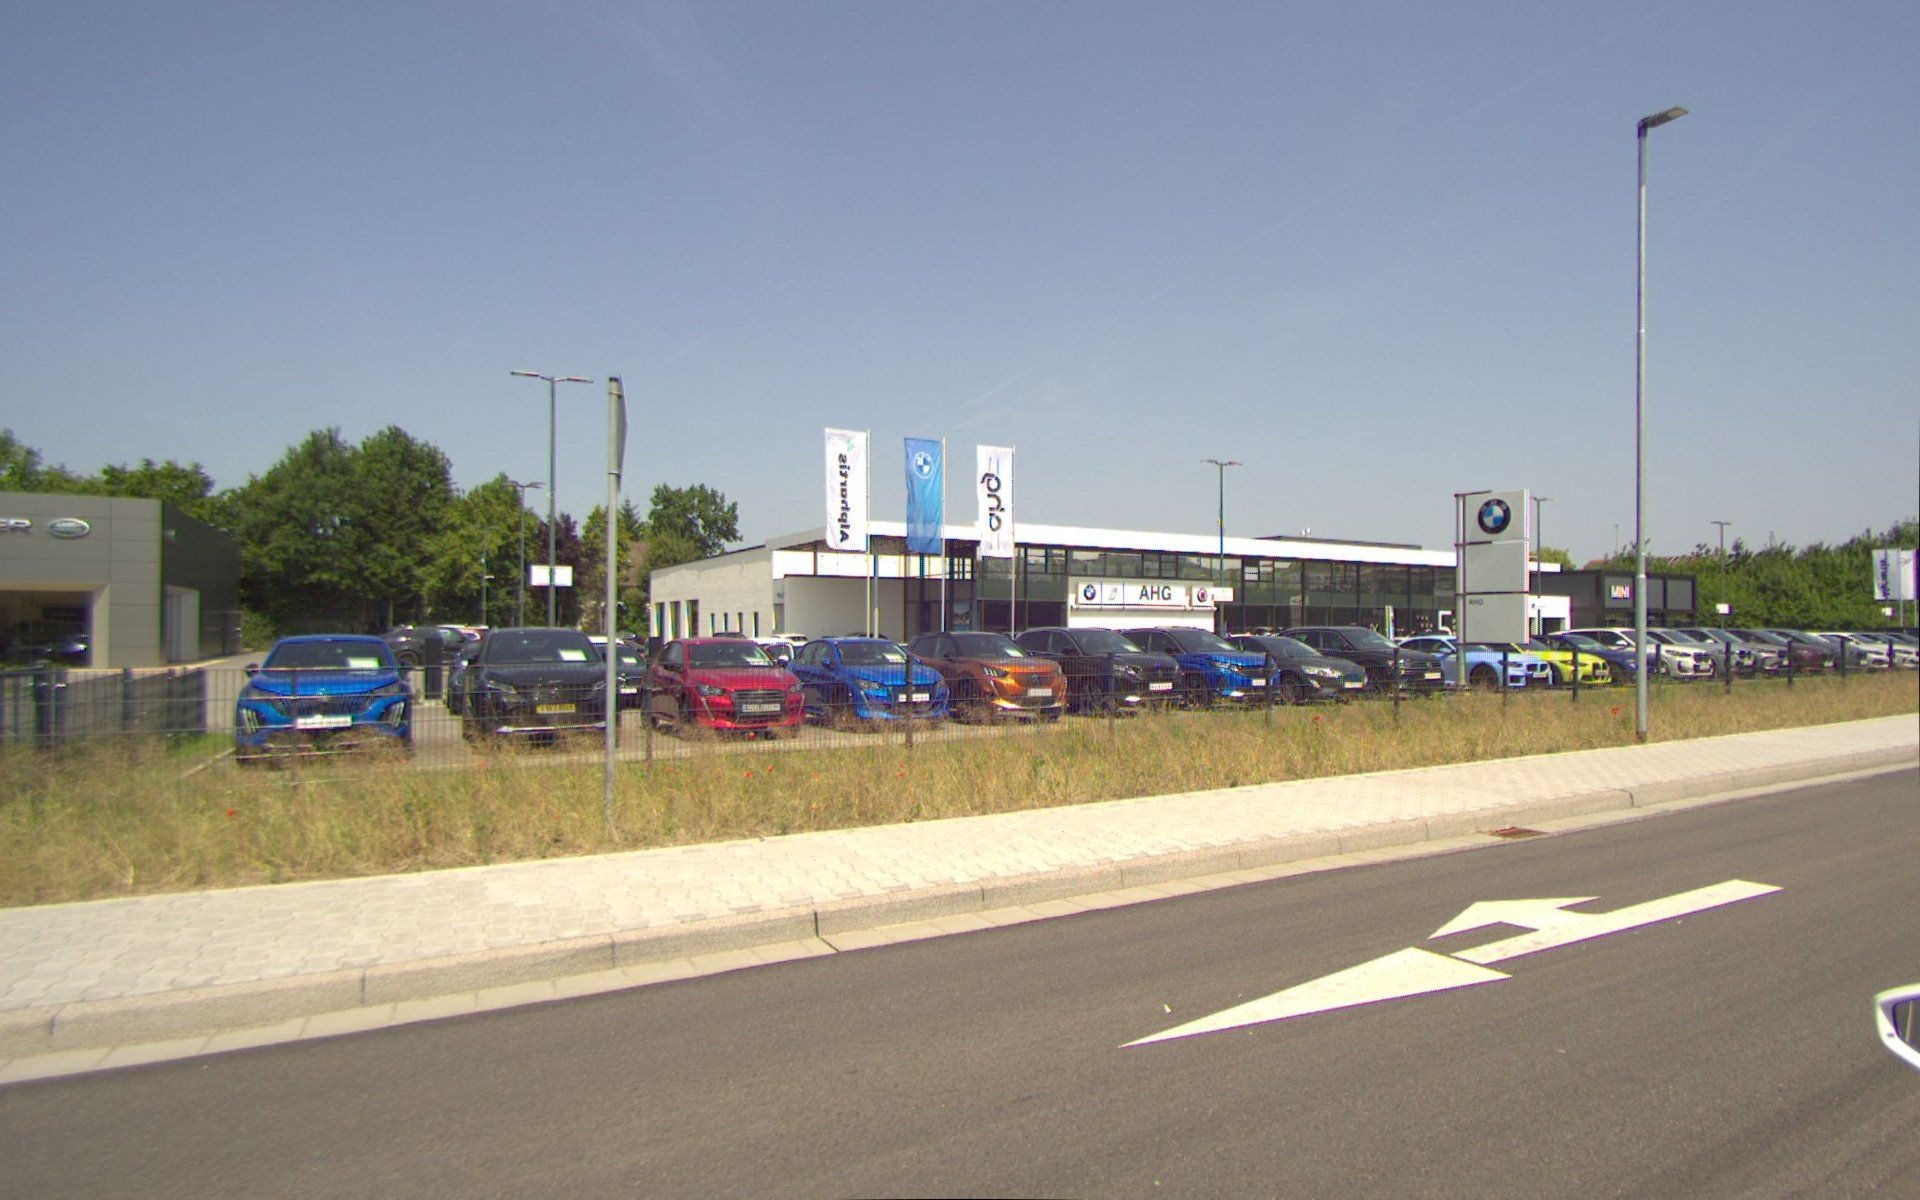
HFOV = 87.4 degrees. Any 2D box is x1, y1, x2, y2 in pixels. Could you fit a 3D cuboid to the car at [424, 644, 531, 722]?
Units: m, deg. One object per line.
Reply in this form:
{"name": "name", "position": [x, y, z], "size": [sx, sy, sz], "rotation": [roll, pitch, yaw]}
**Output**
{"name": "car", "position": [-10.777, 1.754, 22.310], "size": [1.794, 1.500, 3.967], "rotation": [0, -2, -31]}

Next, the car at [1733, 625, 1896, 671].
{"name": "car", "position": [30.987, 1.716, 36.564], "size": [1.793, 1.565, 4.146], "rotation": [0, -2, -29]}

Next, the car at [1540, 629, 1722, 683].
{"name": "car", "position": [19.895, 1.628, 29.977], "size": [1.793, 1.486, 4.146], "rotation": [0, -2, -29]}

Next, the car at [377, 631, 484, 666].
{"name": "car", "position": [-24.680, 2.234, 46.885], "size": [4.299, 1.500, 1.612], "rotation": [0, -2, -34]}

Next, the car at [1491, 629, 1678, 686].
{"name": "car", "position": [17.580, 1.582, 28.477], "size": [1.793, 1.486, 4.146], "rotation": [0, -2, -29]}

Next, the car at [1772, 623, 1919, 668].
{"name": "car", "position": [33.550, 1.696, 37.910], "size": [1.793, 1.565, 4.146], "rotation": [0, -2, -29]}

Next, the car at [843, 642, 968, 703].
{"name": "car", "position": [-1.585, 1.926, 27.652], "size": [1.794, 1.514, 3.967], "rotation": [0, -2, -31]}

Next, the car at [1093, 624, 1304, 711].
{"name": "car", "position": [4.722, 1.299, 20.392], "size": [1.949, 1.554, 3.967], "rotation": [0, -2, -31]}

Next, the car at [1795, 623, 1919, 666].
{"name": "car", "position": [35.549, 1.710, 39.237], "size": [1.793, 1.565, 4.146], "rotation": [0, -2, -29]}

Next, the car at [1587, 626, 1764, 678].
{"name": "car", "position": [22.241, 1.595, 31.401], "size": [1.793, 1.486, 4.146], "rotation": [0, -2, -29]}

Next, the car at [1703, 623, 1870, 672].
{"name": "car", "position": [28.859, 1.643, 35.222], "size": [1.793, 1.565, 4.146], "rotation": [0, -2, -29]}

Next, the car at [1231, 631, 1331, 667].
{"name": "car", "position": [14.277, 2.165, 44.885], "size": [1.793, 1.486, 4.146], "rotation": [0, -2, -29]}

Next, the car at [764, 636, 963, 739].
{"name": "car", "position": [-1.724, 1.345, 16.682], "size": [1.766, 1.464, 3.967], "rotation": [0, -2, -31]}

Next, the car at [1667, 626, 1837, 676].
{"name": "car", "position": [26.717, 1.691, 34.017], "size": [1.793, 1.565, 4.146], "rotation": [0, -2, -29]}

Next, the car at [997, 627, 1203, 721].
{"name": "car", "position": [2.529, 1.325, 19.115], "size": [1.794, 1.554, 3.967], "rotation": [0, -2, -31]}

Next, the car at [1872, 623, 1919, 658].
{"name": "car", "position": [42.350, 1.738, 43.291], "size": [1.793, 1.486, 4.146], "rotation": [0, -2, -29]}

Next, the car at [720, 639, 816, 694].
{"name": "car", "position": [-6.283, 2.099, 32.559], "size": [1.794, 1.607, 3.967], "rotation": [0, -2, -31]}

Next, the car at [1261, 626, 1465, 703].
{"name": "car", "position": [9.181, 1.426, 23.176], "size": [2.030, 1.593, 3.967], "rotation": [0, -2, -31]}

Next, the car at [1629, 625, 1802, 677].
{"name": "car", "position": [24.521, 1.632, 32.760], "size": [1.793, 1.565, 4.146], "rotation": [0, -2, -29]}

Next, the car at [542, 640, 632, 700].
{"name": "car", "position": [-11.129, 2.017, 29.807], "size": [1.660, 1.615, 3.964], "rotation": [0, -2, -33]}

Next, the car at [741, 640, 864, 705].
{"name": "car", "position": [-4.172, 1.820, 26.096], "size": [1.794, 1.514, 3.967], "rotation": [0, -2, -31]}

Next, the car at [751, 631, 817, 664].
{"name": "car", "position": [-8.398, 2.227, 47.597], "size": [1.609, 1.500, 4.309], "rotation": [0, -2, -31]}

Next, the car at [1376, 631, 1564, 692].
{"name": "car", "position": [12.959, 1.522, 25.765], "size": [1.855, 1.409, 3.971], "rotation": [0, -2, -28]}

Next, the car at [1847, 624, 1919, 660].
{"name": "car", "position": [40.201, 1.759, 42.130], "size": [1.793, 1.486, 4.146], "rotation": [0, -2, -29]}

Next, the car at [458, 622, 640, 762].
{"name": "car", "position": [-5.896, 1.171, 14.140], "size": [1.794, 1.657, 3.967], "rotation": [0, -2, -31]}

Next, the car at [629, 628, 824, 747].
{"name": "car", "position": [-3.712, 1.236, 15.450], "size": [1.794, 1.548, 3.967], "rotation": [0, -2, -31]}

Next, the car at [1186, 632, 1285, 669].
{"name": "car", "position": [11.950, 2.168, 43.771], "size": [1.793, 1.486, 4.146], "rotation": [0, -2, -29]}

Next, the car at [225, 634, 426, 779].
{"name": "car", "position": [-8.016, 1.213, 12.866], "size": [1.889, 1.500, 3.967], "rotation": [0, -2, -31]}

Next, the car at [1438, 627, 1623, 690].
{"name": "car", "position": [15.259, 1.526, 27.073], "size": [1.793, 1.554, 3.970], "rotation": [0, -2, -29]}

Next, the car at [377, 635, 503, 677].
{"name": "car", "position": [-20.552, 2.182, 39.784], "size": [4.299, 1.500, 1.612], "rotation": [0, -2, -34]}

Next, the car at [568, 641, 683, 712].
{"name": "car", "position": [-8.038, 1.746, 23.915], "size": [1.794, 1.500, 3.967], "rotation": [0, -2, -31]}

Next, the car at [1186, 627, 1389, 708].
{"name": "car", "position": [6.934, 1.388, 21.679], "size": [1.794, 1.554, 3.967], "rotation": [0, -2, -31]}

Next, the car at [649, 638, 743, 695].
{"name": "car", "position": [-8.248, 2.014, 31.205], "size": [1.660, 1.615, 3.964], "rotation": [0, -2, -33]}

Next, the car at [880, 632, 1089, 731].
{"name": "car", "position": [0.309, 1.347, 17.858], "size": [1.893, 1.514, 3.967], "rotation": [0, -2, -31]}

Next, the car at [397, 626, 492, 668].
{"name": "car", "position": [-26.856, 2.396, 52.370], "size": [4.299, 2.065, 1.612], "rotation": [0, -2, -34]}

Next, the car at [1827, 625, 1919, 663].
{"name": "car", "position": [38.184, 1.788, 40.775], "size": [1.793, 1.486, 4.146], "rotation": [0, -2, -29]}
